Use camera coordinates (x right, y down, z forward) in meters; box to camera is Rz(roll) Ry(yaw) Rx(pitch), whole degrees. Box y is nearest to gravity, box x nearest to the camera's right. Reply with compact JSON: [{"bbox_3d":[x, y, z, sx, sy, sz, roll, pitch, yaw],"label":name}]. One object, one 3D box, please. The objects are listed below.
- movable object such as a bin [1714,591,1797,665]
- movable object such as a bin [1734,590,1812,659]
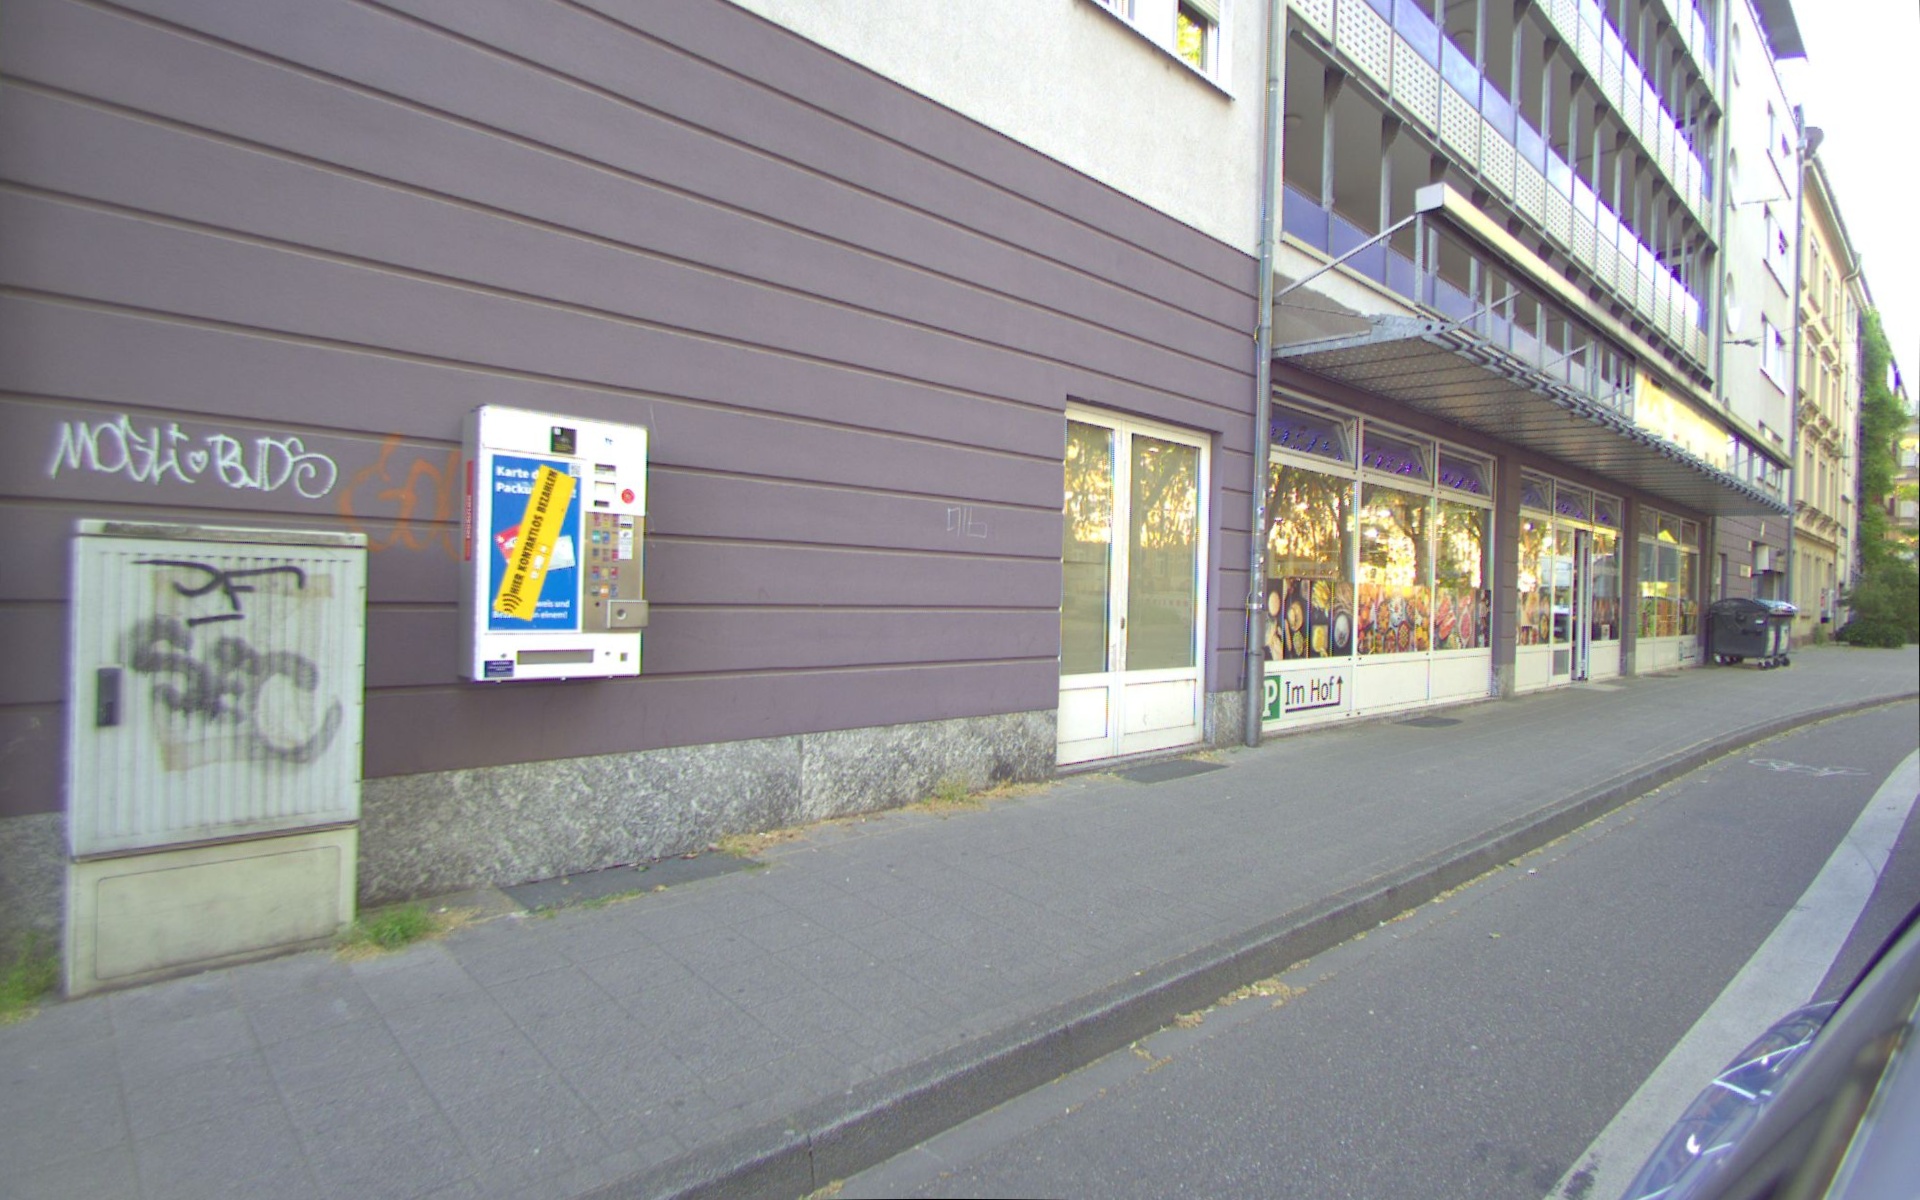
[{"bbox_3d":[16.317,0.545,20.763,0.923,1.444,1.158,1,1,-40],"label":"movable object such as a bin"},{"bbox_3d":[17.776,0.516,22.139,0.923,1.444,1.158,1,1,-40],"label":"movable object such as a bin"}]
